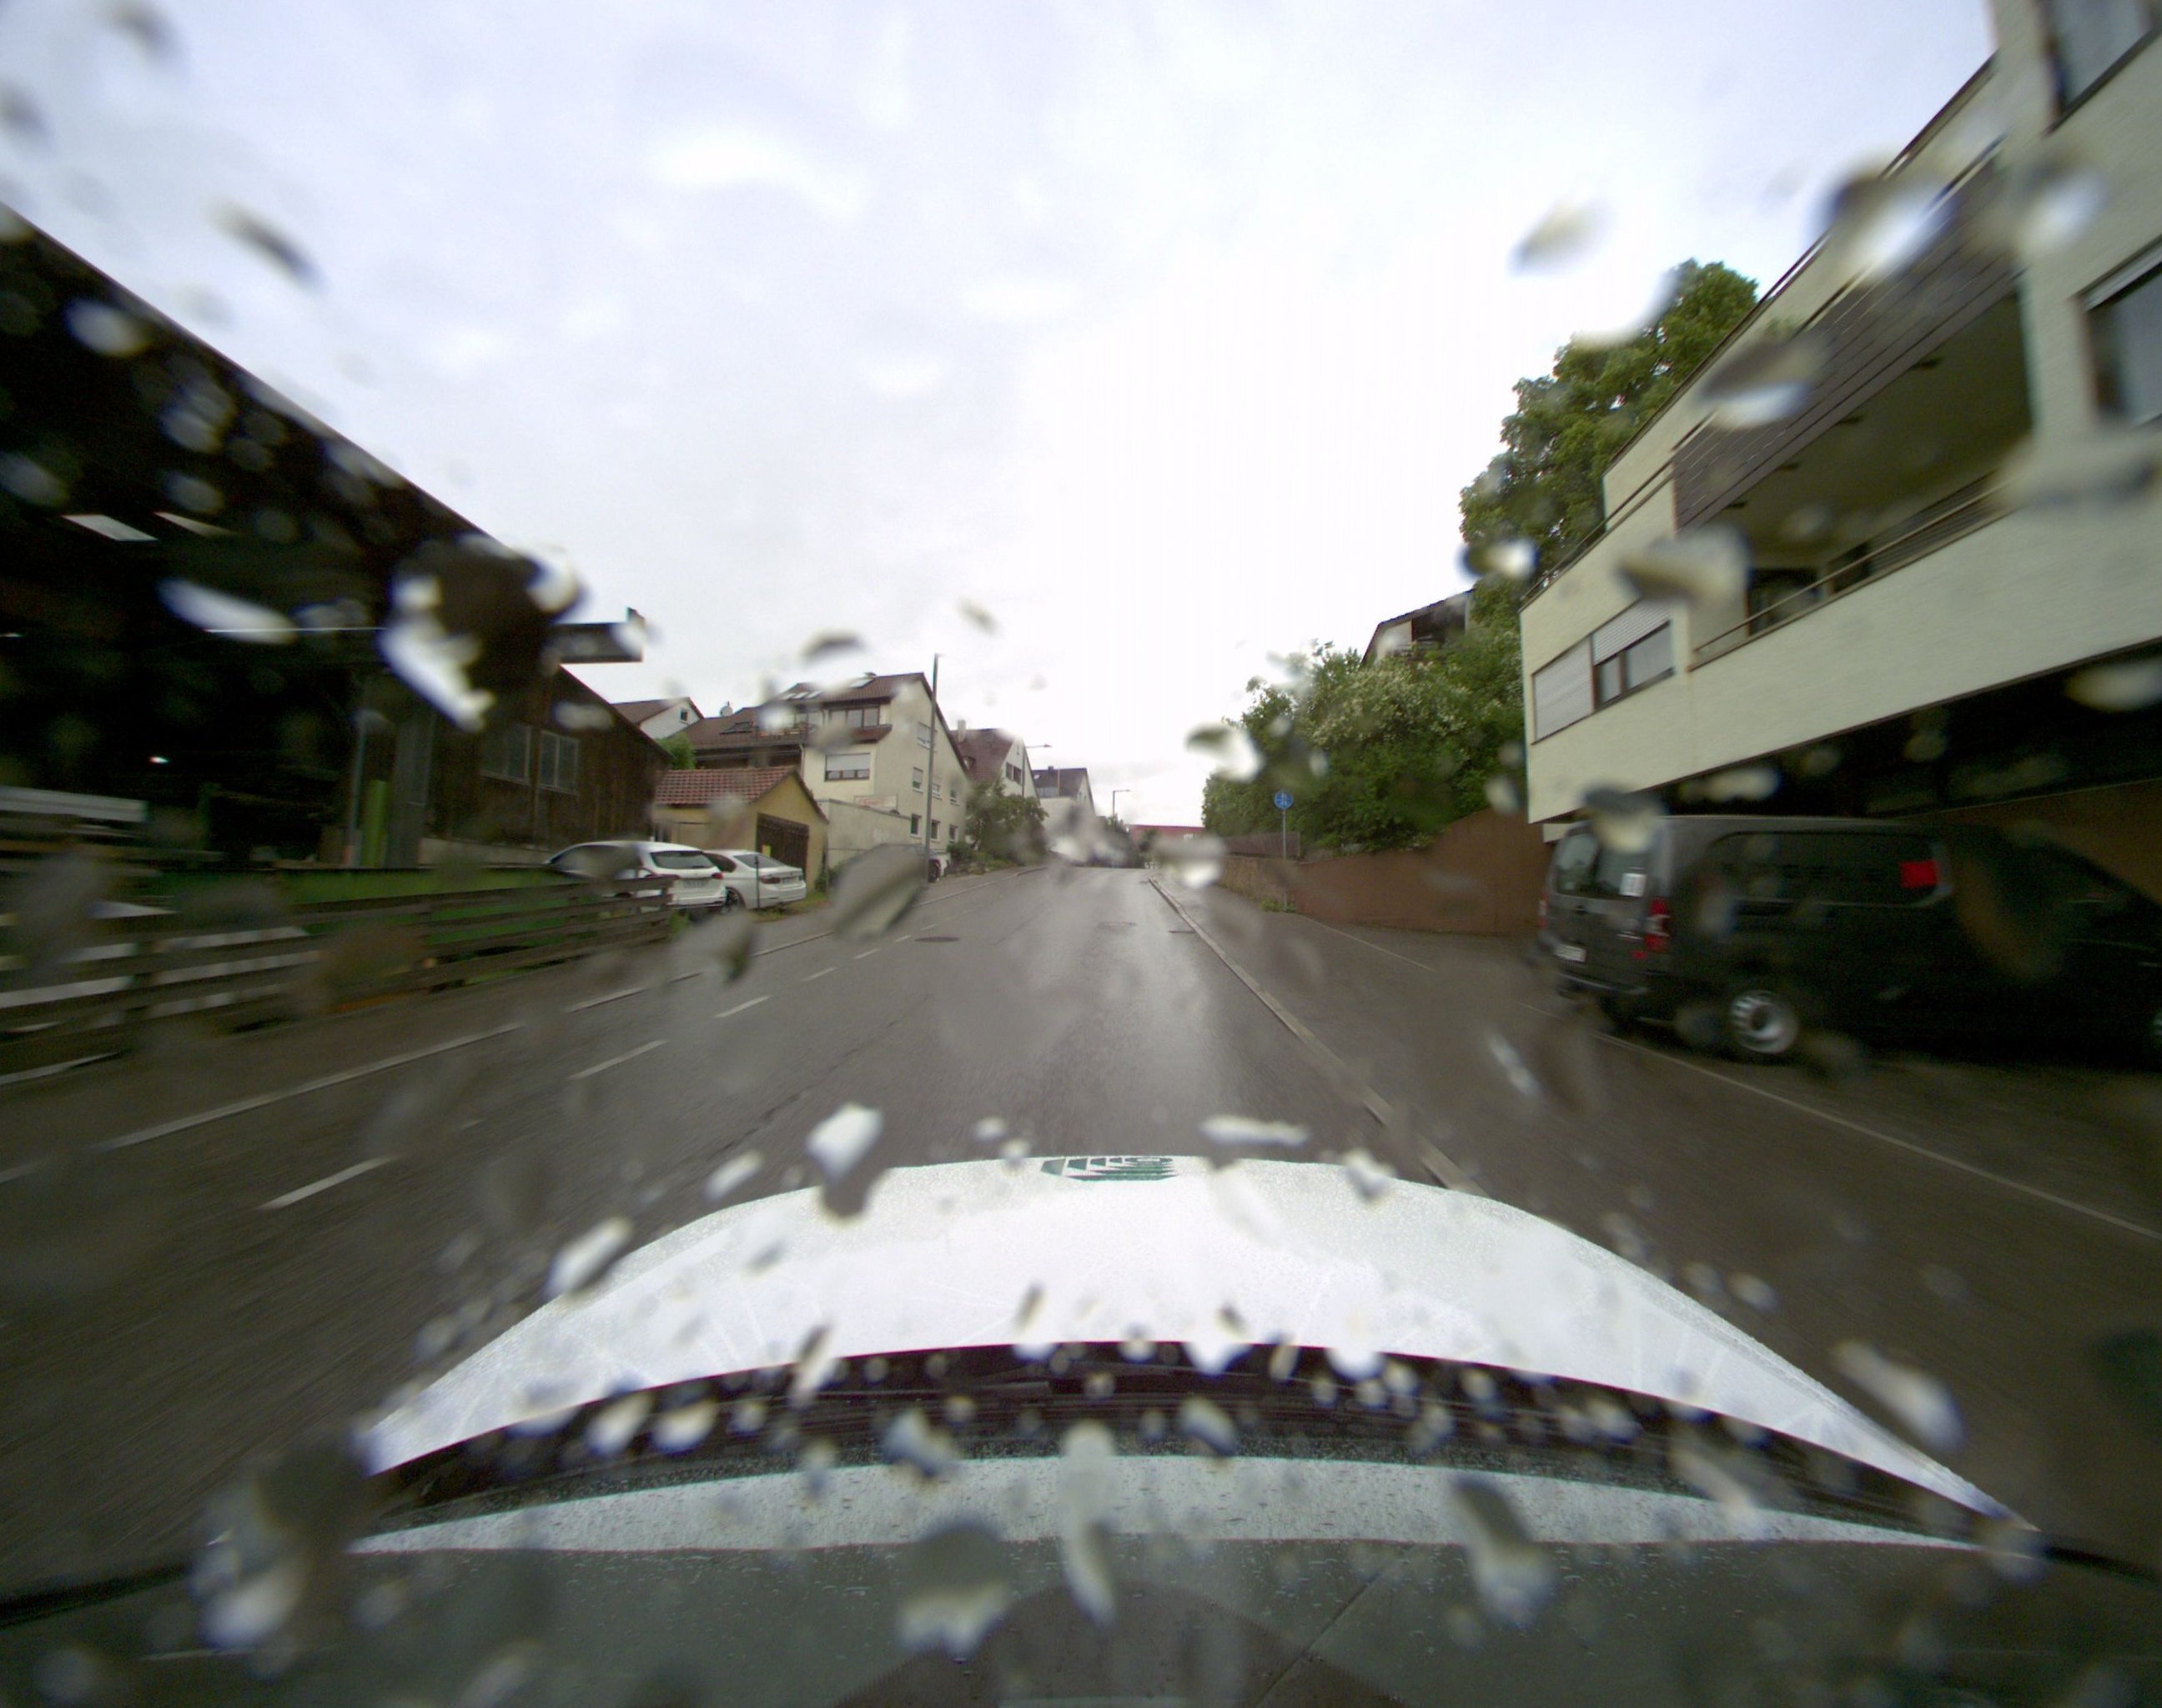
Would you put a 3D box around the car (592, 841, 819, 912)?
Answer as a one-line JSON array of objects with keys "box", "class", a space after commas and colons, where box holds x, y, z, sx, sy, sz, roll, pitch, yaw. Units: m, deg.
[{"box": [-8.502, 0.469, 18.549, 4.464, 1.505, 1.908, 0, 0, 14], "class": "car"}]

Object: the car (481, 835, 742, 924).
[{"box": [-8.632, 0.423, 15.098, 3.958, 1.505, 1.908, 0, 0, 14], "class": "car"}]

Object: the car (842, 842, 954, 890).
[{"box": [-6.727, 0.420, 30.585, 1.959, 1.659, 4.983, 0, 0, 15], "class": "car"}]

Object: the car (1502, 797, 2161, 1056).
[{"box": [6.348, 0.509, 6.750, 4.689, 1.820, 2.001, 0, 0, 2], "class": "car"}]
